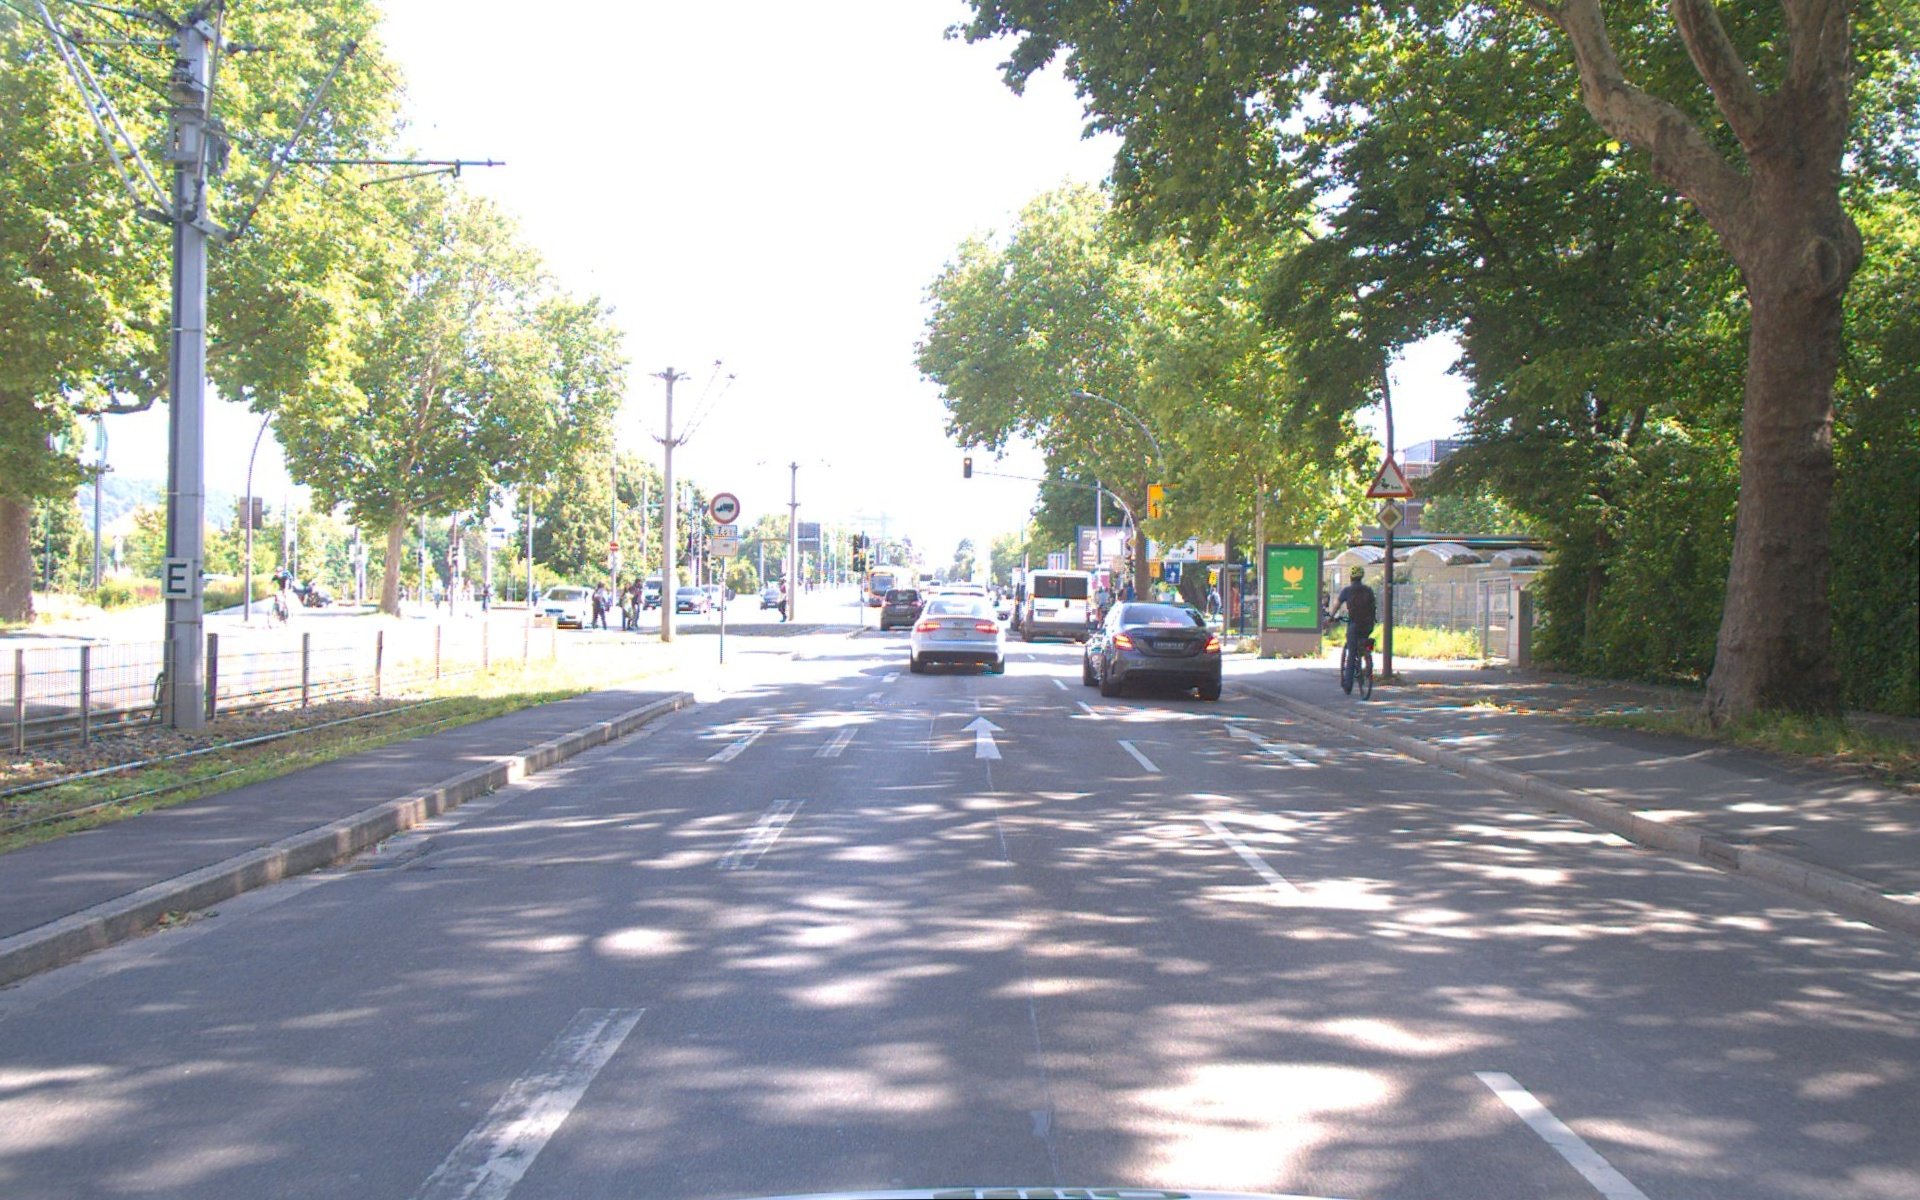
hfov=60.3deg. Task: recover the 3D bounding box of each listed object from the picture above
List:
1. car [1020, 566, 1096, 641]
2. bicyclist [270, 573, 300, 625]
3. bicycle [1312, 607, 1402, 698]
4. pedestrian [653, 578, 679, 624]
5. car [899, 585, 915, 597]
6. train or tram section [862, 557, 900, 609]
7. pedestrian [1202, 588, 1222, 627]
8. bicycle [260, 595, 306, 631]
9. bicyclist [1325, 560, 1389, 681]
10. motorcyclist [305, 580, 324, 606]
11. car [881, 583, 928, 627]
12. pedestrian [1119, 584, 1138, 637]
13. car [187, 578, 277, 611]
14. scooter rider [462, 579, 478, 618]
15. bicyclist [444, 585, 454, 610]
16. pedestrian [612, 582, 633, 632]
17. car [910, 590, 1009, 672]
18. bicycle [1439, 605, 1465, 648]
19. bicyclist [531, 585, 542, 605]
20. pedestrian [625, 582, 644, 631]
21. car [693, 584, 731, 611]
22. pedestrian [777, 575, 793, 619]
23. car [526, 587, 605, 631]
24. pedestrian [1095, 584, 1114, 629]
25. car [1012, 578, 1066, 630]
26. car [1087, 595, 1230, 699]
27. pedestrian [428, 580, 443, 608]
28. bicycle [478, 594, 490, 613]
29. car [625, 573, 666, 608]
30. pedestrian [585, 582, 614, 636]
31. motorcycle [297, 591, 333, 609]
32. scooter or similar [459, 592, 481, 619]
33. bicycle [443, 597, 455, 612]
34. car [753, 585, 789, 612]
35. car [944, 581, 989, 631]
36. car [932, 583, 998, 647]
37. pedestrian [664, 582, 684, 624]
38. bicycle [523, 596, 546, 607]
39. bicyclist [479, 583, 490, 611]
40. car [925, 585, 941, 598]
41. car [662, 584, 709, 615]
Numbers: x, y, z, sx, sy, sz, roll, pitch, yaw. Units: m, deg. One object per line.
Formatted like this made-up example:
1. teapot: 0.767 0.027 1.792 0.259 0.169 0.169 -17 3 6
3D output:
1. car: 3.092 0.093 52.980 2.184 2.250 4.162 1 0 0
2. bicyclist: -21.370 -0.026 52.370 0.563 1.632 0.838 1 0 0
3. bicycle: 5.619 0.719 23.542 0.700 1.168 2.178 -2 1 -1
4. pedestrian: -11.333 0.036 63.812 0.758 1.764 0.755 1 0 9
5. car: -7.168 -1.207 223.376 1.832 1.637 4.001 1 0 2
6. train or tram section: -6.456 -1.337 135.559 2.563 4.085 7.749 1 0 1
7. pedestrian: 11.972 0.353 78.552 0.761 1.819 0.764 1 0 18
8. bicycle: -21.398 0.393 52.303 0.653 1.113 1.884 1 0 1
9. bicyclist: 5.634 0.282 23.515 0.621 1.677 0.979 -2 0 -1
10. motorcyclist: -33.619 -0.361 86.132 0.737 1.337 0.604 1 0 0
11. car: -2.204 0.186 66.761 1.694 1.659 4.000 1 0 0
12. pedestrian: 6.383 0.399 62.733 0.622 1.980 0.719 1 0 0
13. car: -37.064 -0.266 84.272 3.768 1.576 1.769 1 0 0
14. scooter rider: -21.170 -0.070 71.499 0.496 1.660 0.566 1 0 0
15. bicyclist: -27.157 -0.147 87.917 0.378 1.334 0.465 1 0 -6
16. pedestrian: -11.558 0.237 56.703 0.580 1.675 0.554 1 0 0
17. car: 0.004 0.546 31.689 1.748 1.445 3.885 1 0 0
18. bicycle: 14.238 0.759 47.891 0.381 1.201 1.173 1 0 1
19. bicyclist: -27.916 -0.350 109.129 0.465 1.314 0.496 1 0 29
20. pedestrian: -11.361 0.233 57.748 0.482 1.708 0.643 1 0 0
21. car: -15.499 -0.146 103.506 1.727 1.637 3.860 1 0 1
22. pedestrian: -7.798 -0.134 73.782 0.611 1.951 0.690 1 0 0
23. car: -14.337 0.295 60.366 1.760 1.514 4.385 1 0 1
24. pedestrian: 5.593 0.260 64.079 0.590 1.724 0.953 -1 0 0
25. car: 3.213 0.132 67.903 2.029 2.034 4.058 1 0 0
26. car: 3.006 0.673 25.804 1.746 1.445 4.000 1 0 0
27. pedestrian: -29.151 -0.342 91.972 0.610 1.569 0.644 1 0 -1
28. bicycle: -24.486 0.186 85.065 0.476 0.978 1.650 1 0 -12
29. car: -22.325 -0.655 117.426 2.071 2.424 4.000 1 0 1
30. pedestrian: -11.161 0.267 51.210 0.747 1.651 0.590 1 0 -25
31. motorcycle: -33.604 0.019 86.131 1.610 0.906 0.650 1 0 0
32. scooter or similar: -21.179 0.225 71.498 0.536 1.132 1.248 1 0 1
33. bicycle: -27.176 0.239 87.923 0.412 0.761 1.144 1 0 -7
34. car: -12.935 -0.106 113.424 1.952 1.764 4.000 1 0 1
35. car: 0.264 0.226 66.858 1.694 1.935 4.000 1 0 0
36. car: 0.143 0.375 45.120 1.694 1.633 3.885 1 0 0
37. pedestrian: -11.156 0.101 64.520 0.526 1.626 0.578 1 0 19
38. bicycle: -28.024 0.096 108.941 0.482 0.744 1.619 1 0 28
39. bicyclist: -24.479 -0.164 85.156 0.471 1.441 0.590 1 0 -12
40. car: -3.623 -1.120 223.209 1.832 1.637 4.001 1 0 2
41. car: -14.912 -0.026 89.977 1.832 1.637 4.000 1 0 1
